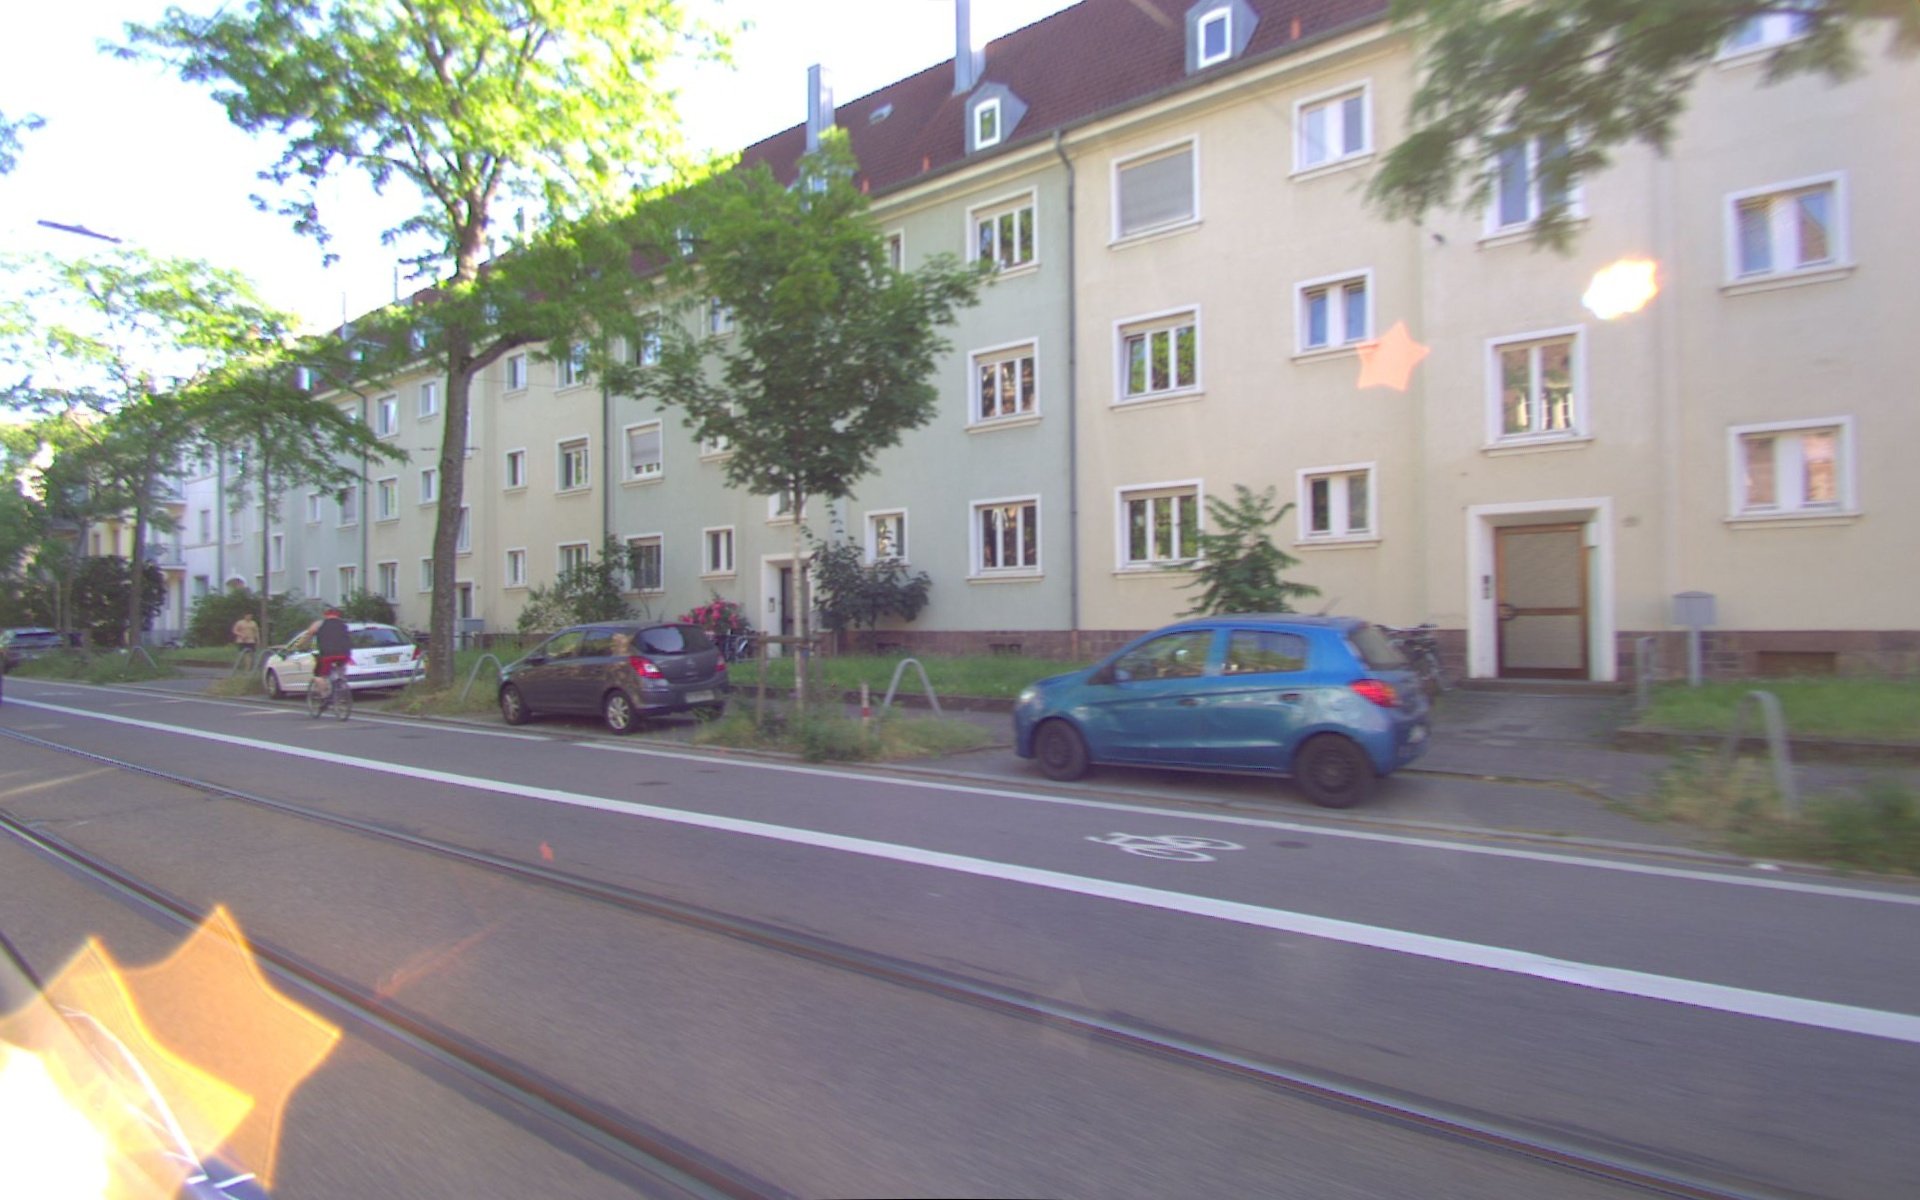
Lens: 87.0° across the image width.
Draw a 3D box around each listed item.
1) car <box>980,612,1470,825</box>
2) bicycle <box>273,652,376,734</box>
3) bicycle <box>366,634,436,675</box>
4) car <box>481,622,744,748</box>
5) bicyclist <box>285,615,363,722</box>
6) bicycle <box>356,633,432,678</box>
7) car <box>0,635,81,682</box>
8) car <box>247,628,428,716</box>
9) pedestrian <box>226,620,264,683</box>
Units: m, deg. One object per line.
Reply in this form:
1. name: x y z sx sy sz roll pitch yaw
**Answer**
1. car: 2.250 0.913 9.039 3.921 1.467 1.547 -2 1 35
2. bicycle: -9.946 1.425 15.816 1.910 1.186 0.688 -2 -5 37
3. bicycle: -17.801 1.721 32.269 0.520 1.186 1.891 -2 0 34
4. car: -5.031 1.129 14.479 3.752 1.496 1.672 -2 1 36
5. bicyclist: -9.966 1.065 15.857 0.863 1.619 0.703 -2 -5 37
6. bicycle: -16.598 1.604 29.719 0.520 1.186 1.891 -2 0 34
7. car: -32.777 2.028 35.741 4.199 1.496 1.800 -2 -1 37
8. car: -12.528 1.380 20.288 4.072 1.496 1.687 -2 1 37
9. pedestrian: -21.113 1.513 29.871 0.812 1.815 0.685 -2 -2 37
